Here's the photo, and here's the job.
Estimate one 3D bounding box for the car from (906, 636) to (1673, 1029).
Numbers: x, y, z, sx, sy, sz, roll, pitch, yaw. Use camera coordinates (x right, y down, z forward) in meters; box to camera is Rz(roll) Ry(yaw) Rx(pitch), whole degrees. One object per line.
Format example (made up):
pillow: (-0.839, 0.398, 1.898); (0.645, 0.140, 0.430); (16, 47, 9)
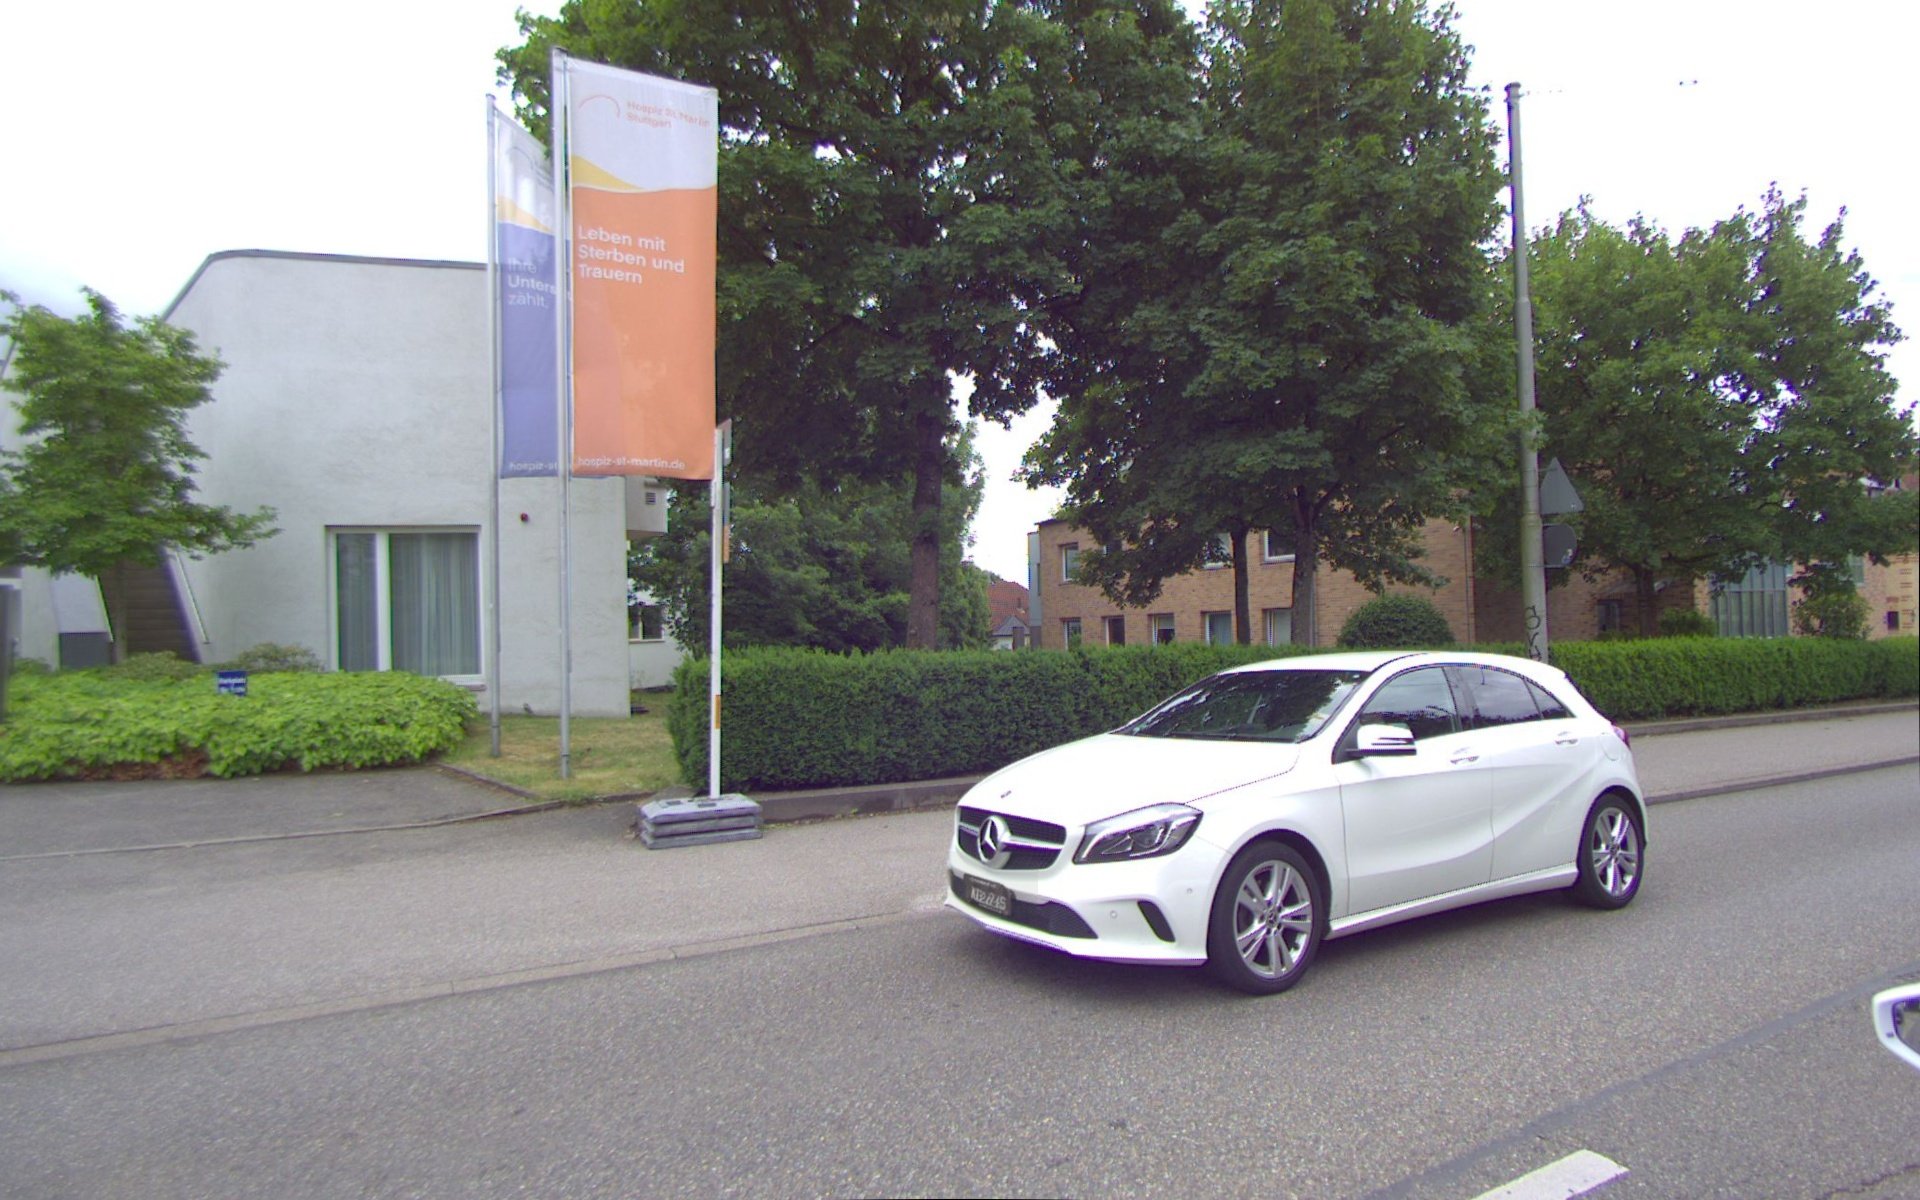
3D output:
car: (1.887, 0.963, 5.507); (4.018, 1.440, 1.759); (2, -5, -30)
